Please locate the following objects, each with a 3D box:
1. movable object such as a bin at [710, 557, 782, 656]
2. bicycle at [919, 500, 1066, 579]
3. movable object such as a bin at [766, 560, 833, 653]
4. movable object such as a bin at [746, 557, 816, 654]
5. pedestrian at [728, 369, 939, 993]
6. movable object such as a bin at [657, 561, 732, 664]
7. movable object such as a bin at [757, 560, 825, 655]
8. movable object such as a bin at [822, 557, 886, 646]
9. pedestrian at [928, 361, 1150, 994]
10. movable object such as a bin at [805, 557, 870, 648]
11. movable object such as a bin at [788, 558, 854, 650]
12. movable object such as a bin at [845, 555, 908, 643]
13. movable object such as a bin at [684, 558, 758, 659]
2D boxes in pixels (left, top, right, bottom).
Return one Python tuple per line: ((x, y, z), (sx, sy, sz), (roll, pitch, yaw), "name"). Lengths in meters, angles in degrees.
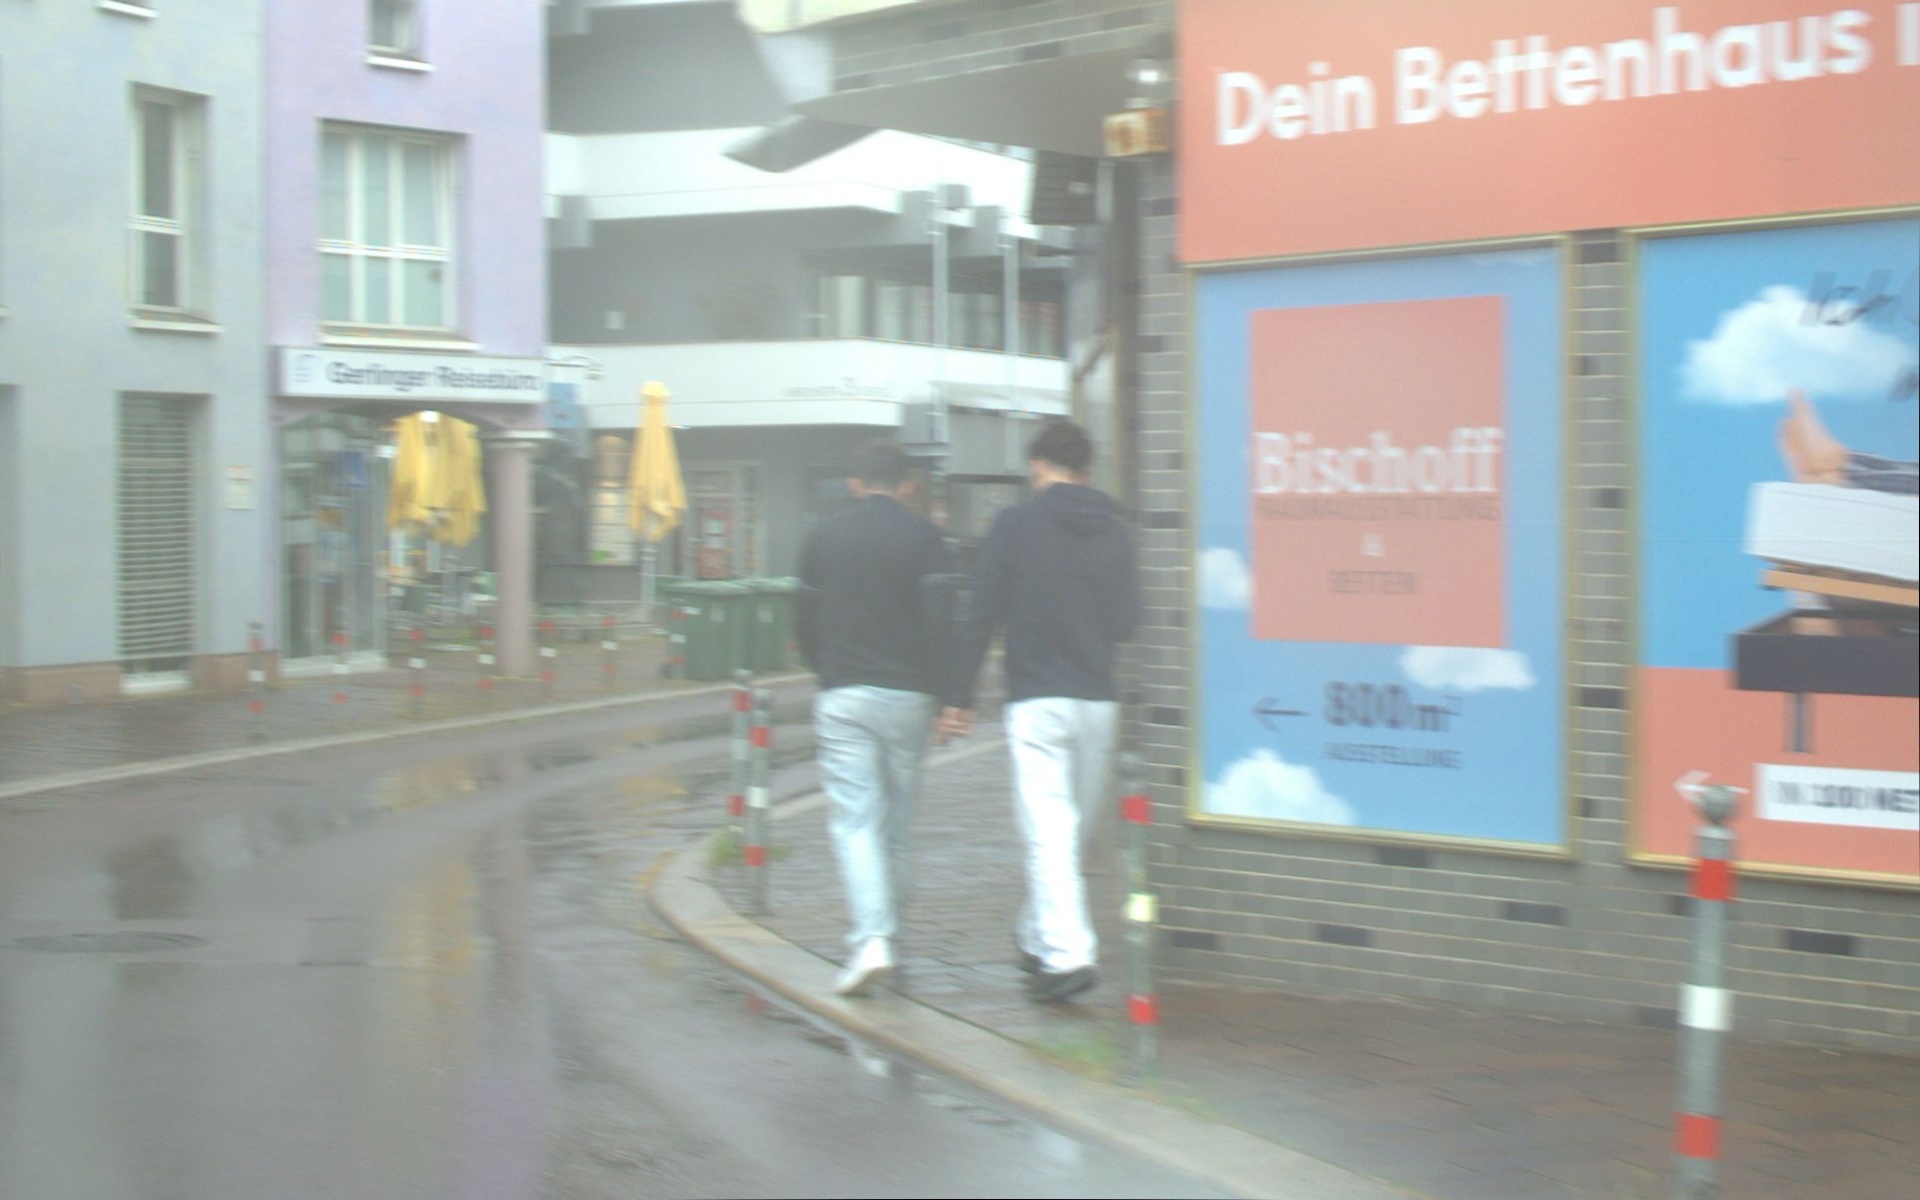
((-2.453, 0.071, 39.350), (0.633, 1.124, 0.576), (0, 1, 20), "movable object such as a bin")
((0.555, -1.033, 58.975), (2.304, 1.310, 1.009), (0, 1, 25), "bicycle")
((-1.951, 0.074, 41.916), (0.633, 1.124, 0.576), (0, 1, 20), "movable object such as a bin")
((-2.105, 0.062, 40.417), (0.633, 1.124, 0.576), (0, 1, 20), "movable object such as a bin")
((-0.433, 0.256, 11.491), (0.650, 2.007, 0.761), (-1, 1, -4), "pedestrian")
((-2.939, 0.133, 38.013), (0.633, 1.124, 0.576), (0, 1, 20), "movable object such as a bin")
((-2.029, 0.087, 41.229), (0.633, 1.124, 0.576), (0, 1, 20), "movable object such as a bin")
((-1.346, 0.018, 43.814), (0.633, 1.124, 0.576), (0, 1, 20), "movable object such as a bin")
((0.249, 0.241, 11.319), (0.650, 2.007, 0.761), (-1, 1, -3), "pedestrian")
((-1.532, 0.030, 43.170), (0.633, 1.124, 0.576), (0, 1, 20), "movable object such as a bin")
((-1.724, 0.051, 42.580), (0.633, 1.124, 0.576), (0, 1, 20), "movable object such as a bin")
((-1.074, -0.015, 44.391), (0.633, 1.124, 0.576), (0, 1, 20), "movable object such as a bin")
((-2.691, 0.096, 38.720), (0.633, 1.124, 0.576), (0, 1, 20), "movable object such as a bin")
